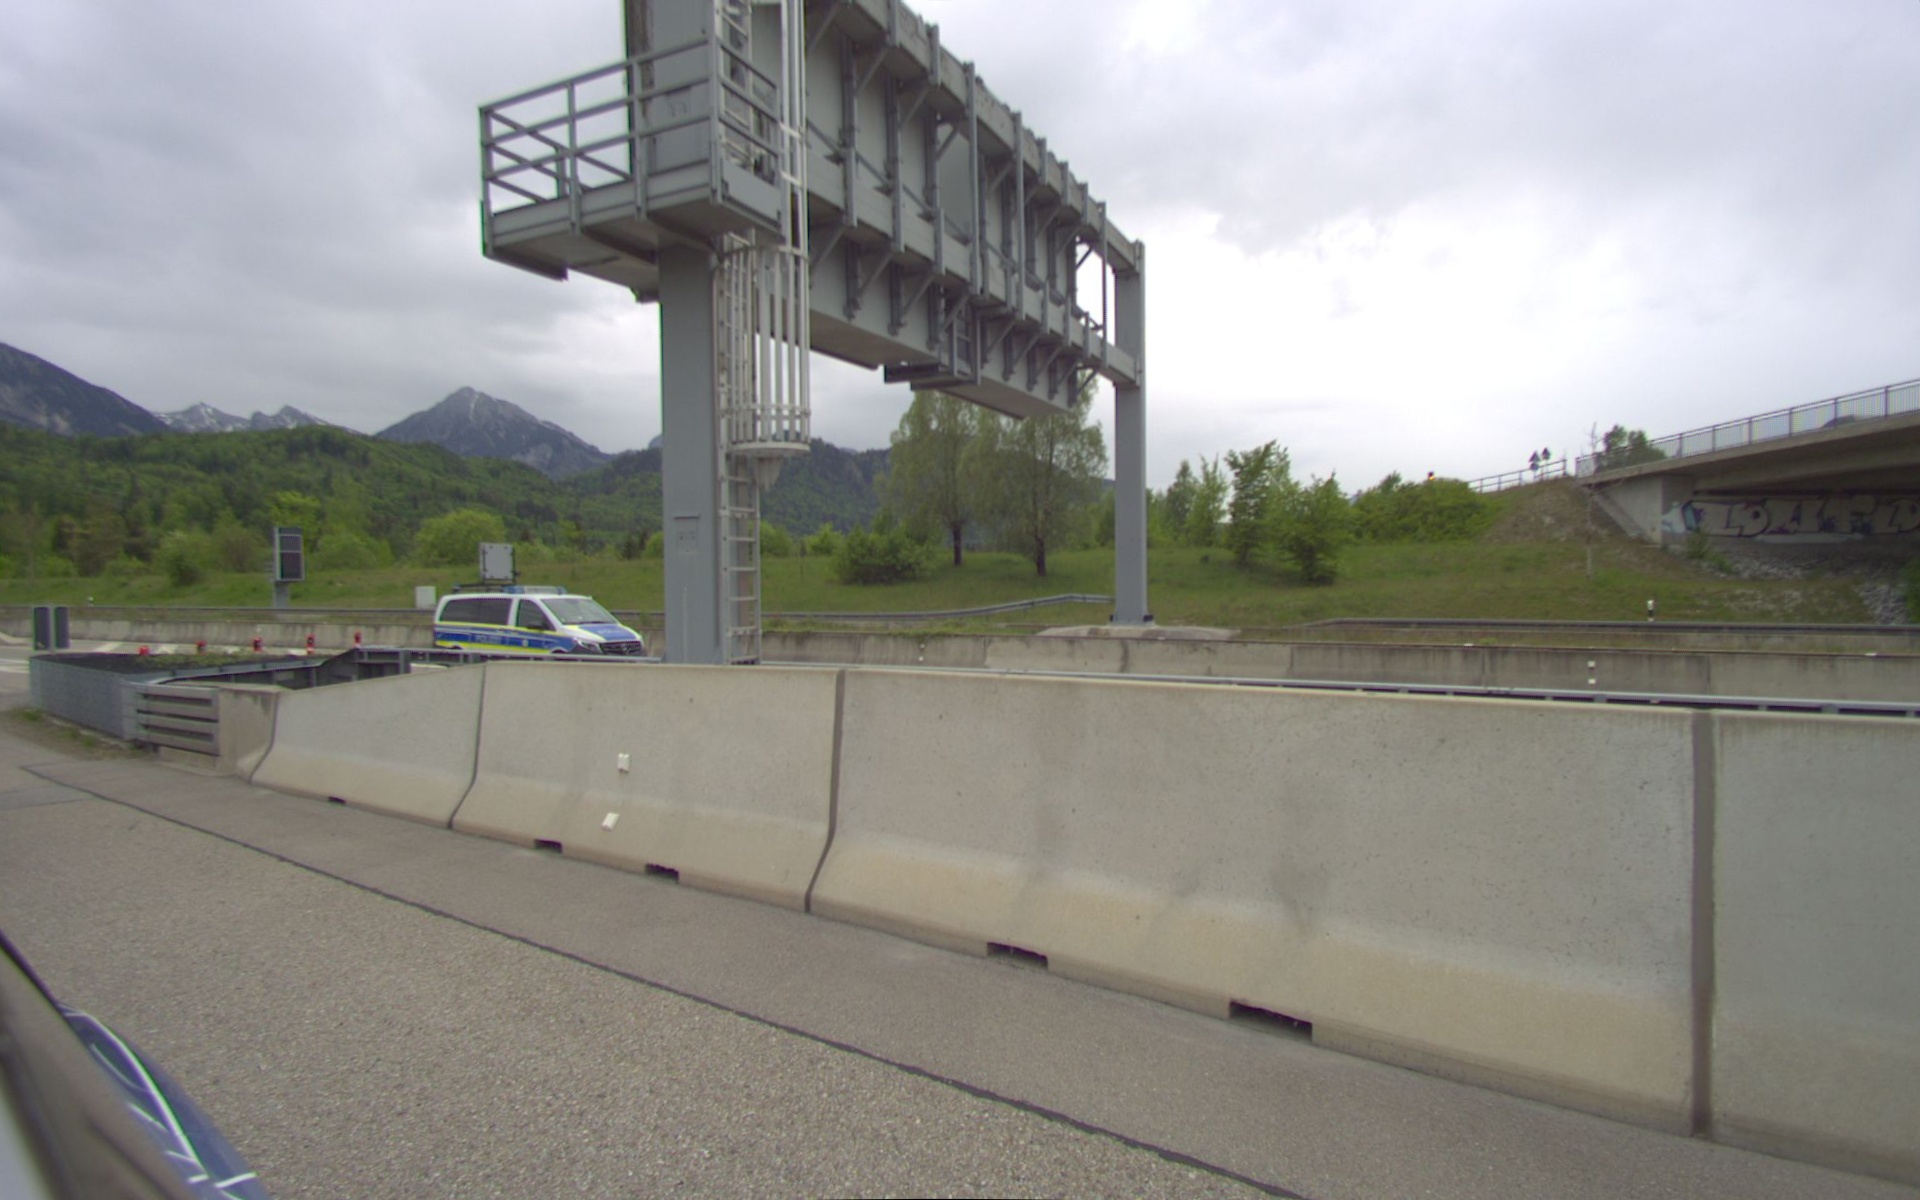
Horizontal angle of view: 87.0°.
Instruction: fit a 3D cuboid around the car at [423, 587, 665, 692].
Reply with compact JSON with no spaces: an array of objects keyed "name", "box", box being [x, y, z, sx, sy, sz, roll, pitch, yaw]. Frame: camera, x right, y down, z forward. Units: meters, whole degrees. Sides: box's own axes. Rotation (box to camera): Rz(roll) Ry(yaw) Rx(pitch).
[{"name":"car","box":[-8.952,0.777,21.701,5.028,2.029,2.085,0,-1,28]}]
